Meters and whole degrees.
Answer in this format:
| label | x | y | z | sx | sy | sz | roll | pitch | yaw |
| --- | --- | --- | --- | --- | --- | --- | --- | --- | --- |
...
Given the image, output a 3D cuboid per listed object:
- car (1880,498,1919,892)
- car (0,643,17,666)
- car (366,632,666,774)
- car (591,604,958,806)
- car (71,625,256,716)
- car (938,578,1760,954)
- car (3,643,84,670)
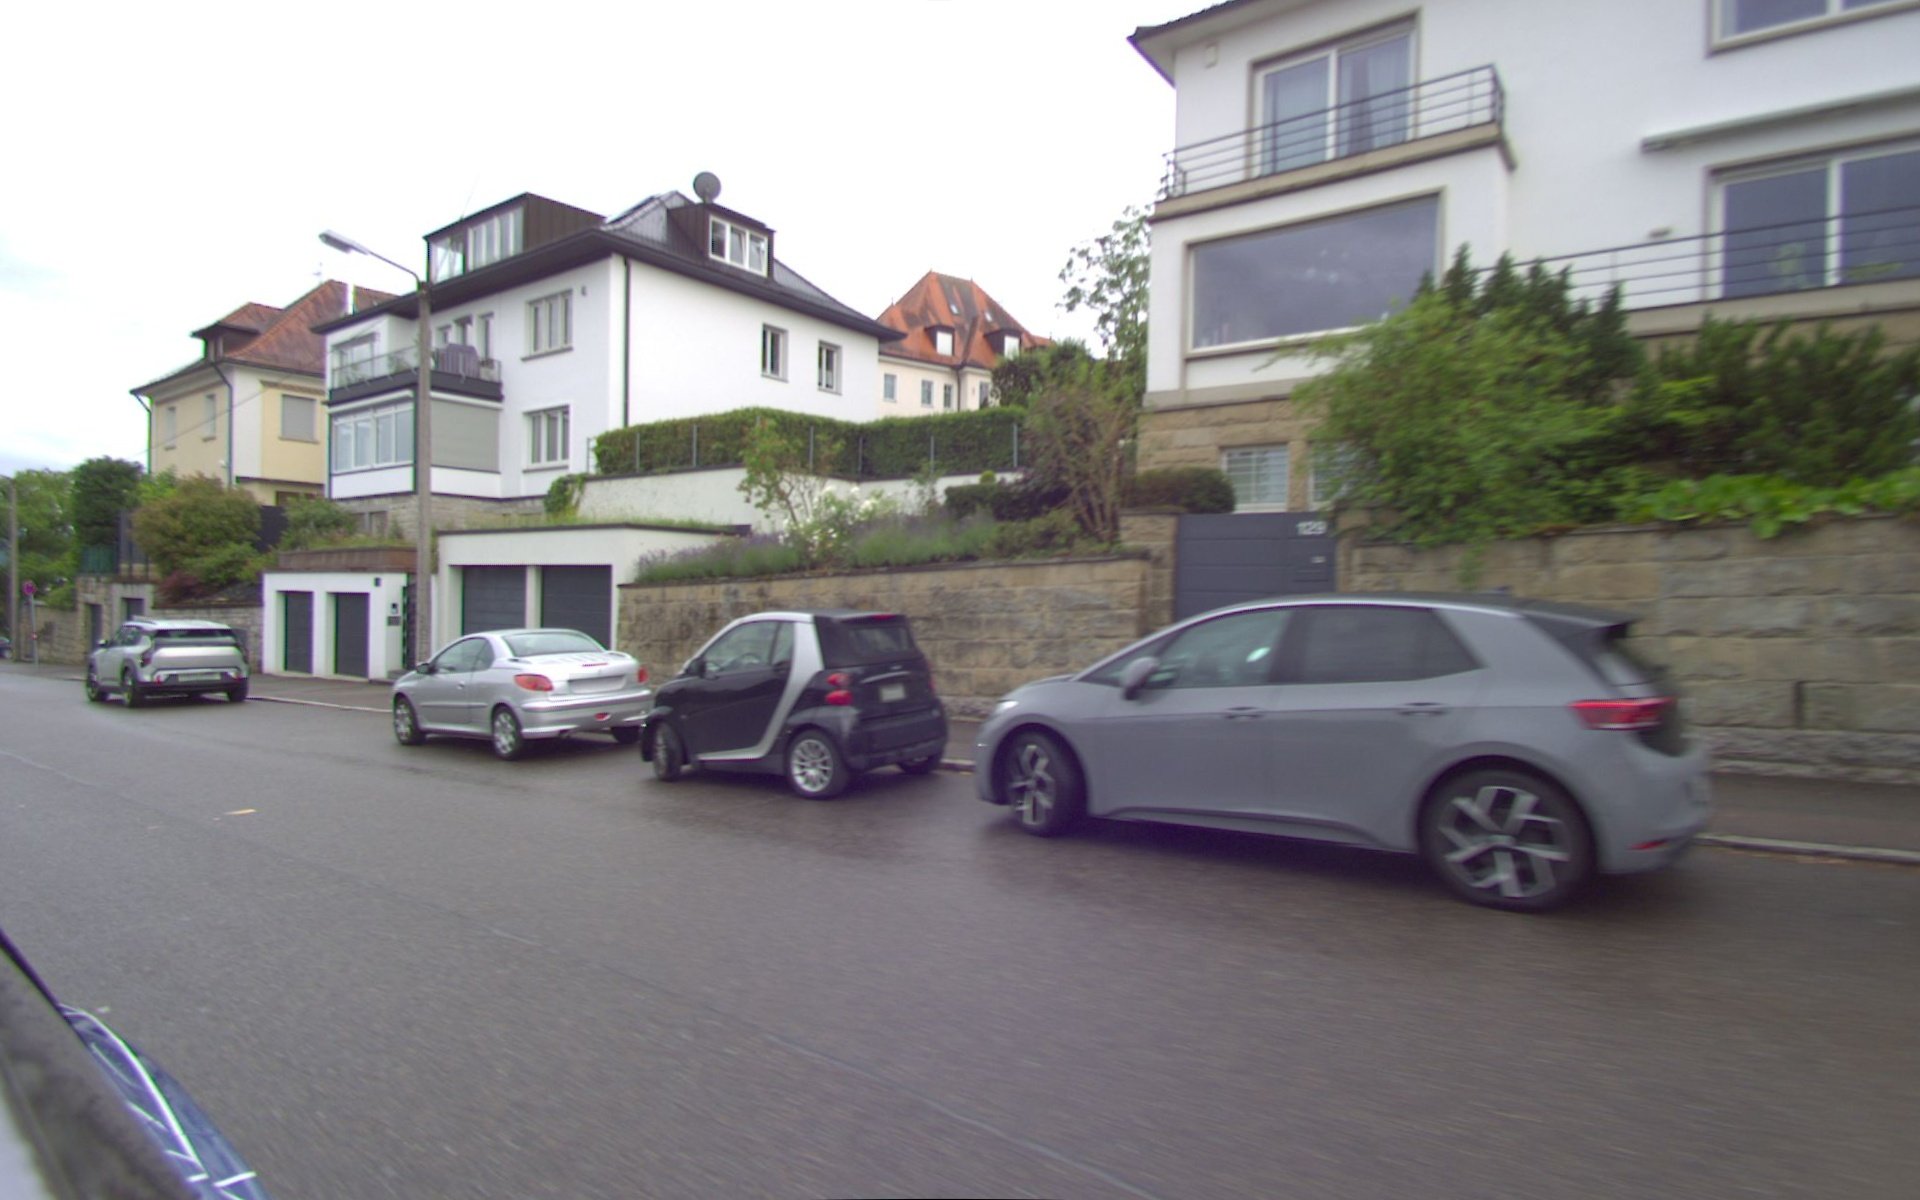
| label | x | y | z | sx | sy | sz | roll | pitch | yaw |
| --- | --- | --- | --- | --- | --- | --- | --- | --- | --- |
| car | 6.629 | 0.396 | 2.906 | 5.579 | 1.874 | 2.111 | -2 | -1 | 34 |
| car | -65.154 | 3.562 | 66.511 | 1.839 | 1.554 | 4.896 | 1 | -4 | -2 |
| car | -5.302 | 1.099 | 11.894 | 3.835 | 1.348 | 1.594 | -2 | -1 | 38 |
| car | -1.744 | 0.849 | 9.224 | 3.150 | 1.535 | 1.484 | -2 | -1 | 34 |
| car | -15.569 | 1.310 | 19.723 | 4.232 | 1.579 | 1.880 | -2 | -2 | 38 |
| car | 2.124 | 0.720 | 6.241 | 4.338 | 1.526 | 1.879 | -2 | -1 | 40 |
| car | -65.263 | 4.049 | 72.178 | 1.727 | 1.835 | 4.423 | 2 | -4 | -1 |
